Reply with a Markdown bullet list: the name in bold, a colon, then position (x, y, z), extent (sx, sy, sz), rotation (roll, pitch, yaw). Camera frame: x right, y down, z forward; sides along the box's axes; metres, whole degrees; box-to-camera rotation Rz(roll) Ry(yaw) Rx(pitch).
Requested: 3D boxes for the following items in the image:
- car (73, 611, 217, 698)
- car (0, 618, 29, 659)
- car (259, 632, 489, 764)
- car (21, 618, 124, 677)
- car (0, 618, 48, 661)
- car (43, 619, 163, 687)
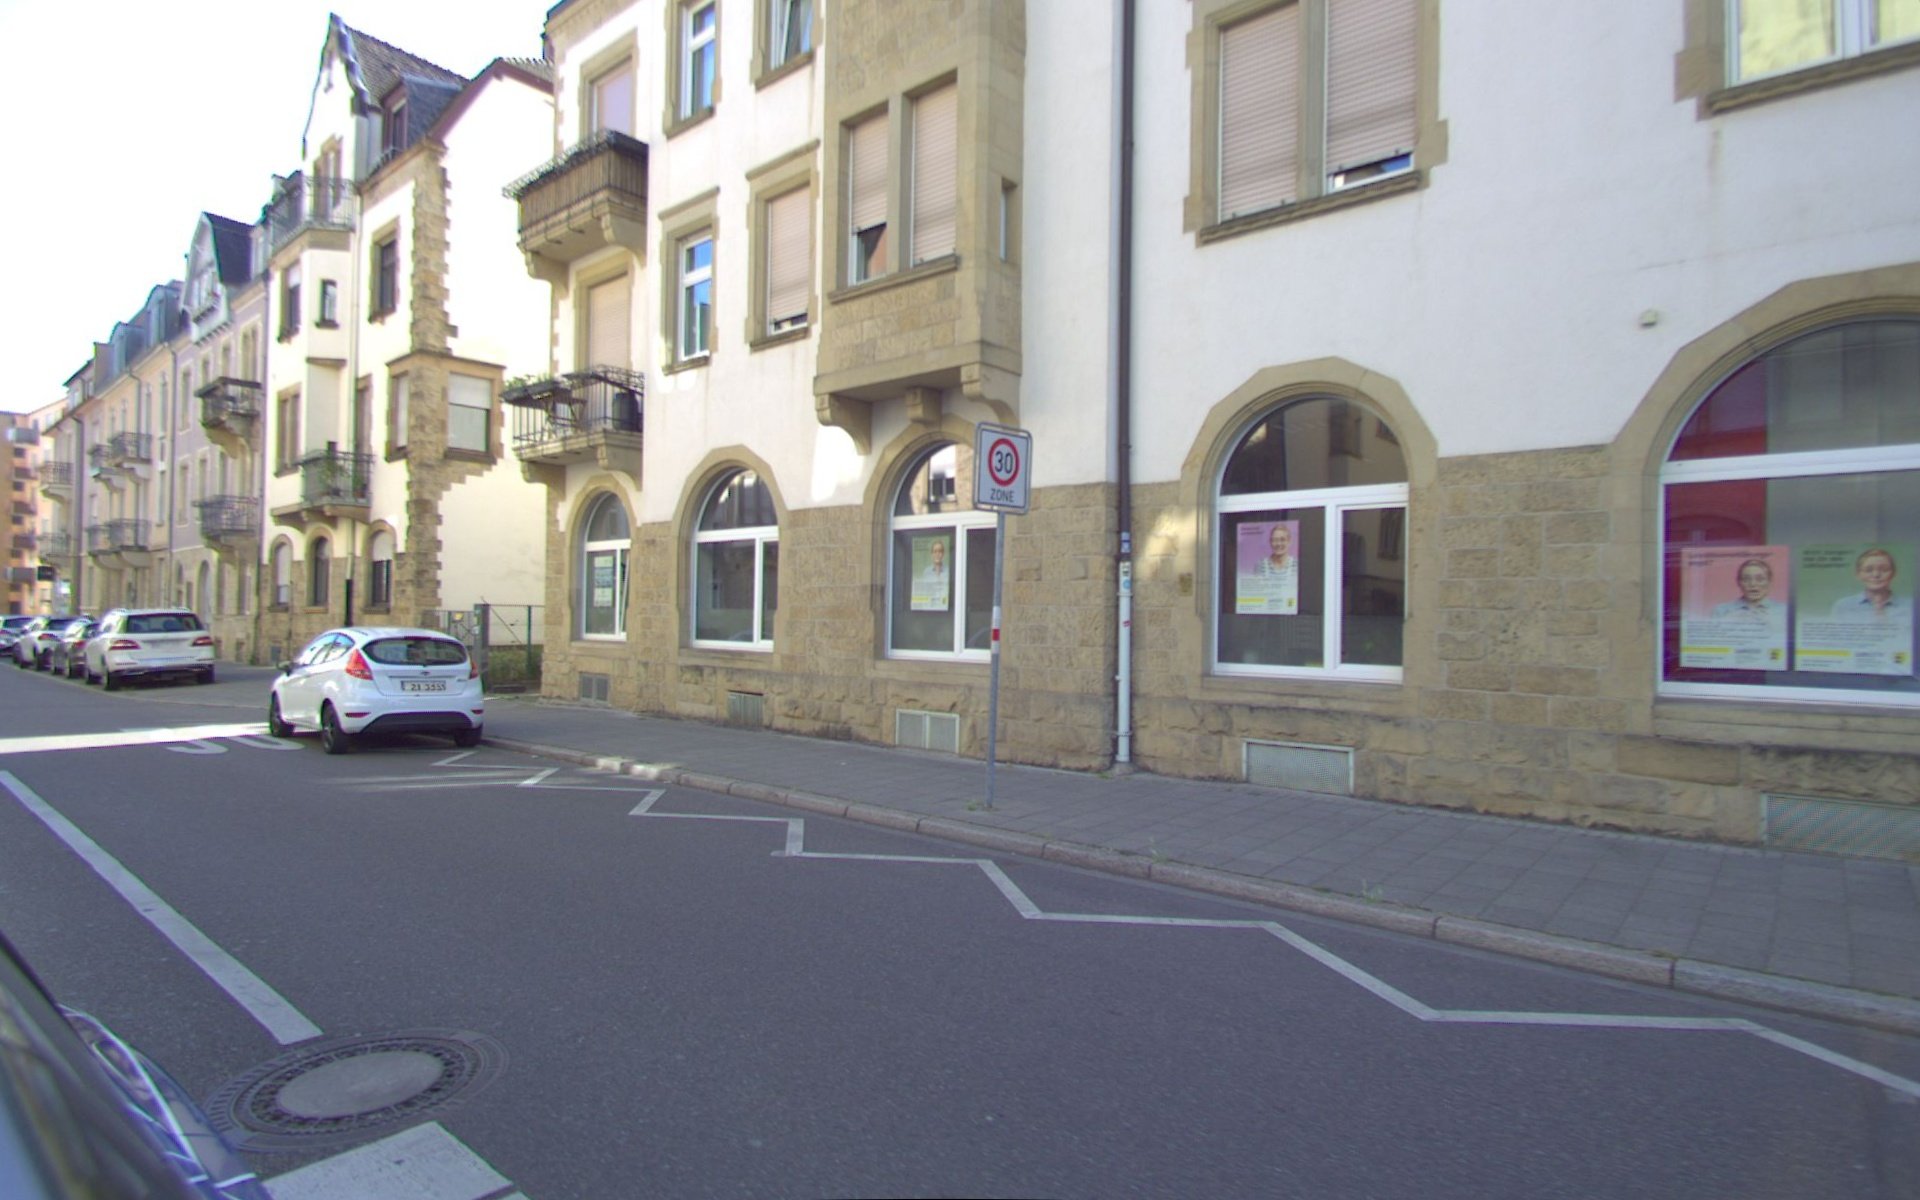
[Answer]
- **car**: position (-18.558, 1.144, 22.969), extent (4.346, 1.671, 1.892), rotation (0, 2, 43)
- **car**: position (-42.296, 1.687, 44.283), extent (4.346, 1.636, 1.892), rotation (0, 2, 43)
- **car**: position (-7.477, 1.136, 12.788), extent (3.572, 1.422, 1.535), rotation (-2, -4, 44)
- **car**: position (-27.147, 1.388, 30.909), extent (4.346, 1.529, 1.892), rotation (0, 2, 43)
- **car**: position (-37.561, 1.533, 39.938), extent (4.346, 1.529, 1.892), rotation (0, 2, 43)
- **car**: position (-22.855, 1.330, 26.922), extent (4.346, 1.529, 1.892), rotation (0, 2, 43)
